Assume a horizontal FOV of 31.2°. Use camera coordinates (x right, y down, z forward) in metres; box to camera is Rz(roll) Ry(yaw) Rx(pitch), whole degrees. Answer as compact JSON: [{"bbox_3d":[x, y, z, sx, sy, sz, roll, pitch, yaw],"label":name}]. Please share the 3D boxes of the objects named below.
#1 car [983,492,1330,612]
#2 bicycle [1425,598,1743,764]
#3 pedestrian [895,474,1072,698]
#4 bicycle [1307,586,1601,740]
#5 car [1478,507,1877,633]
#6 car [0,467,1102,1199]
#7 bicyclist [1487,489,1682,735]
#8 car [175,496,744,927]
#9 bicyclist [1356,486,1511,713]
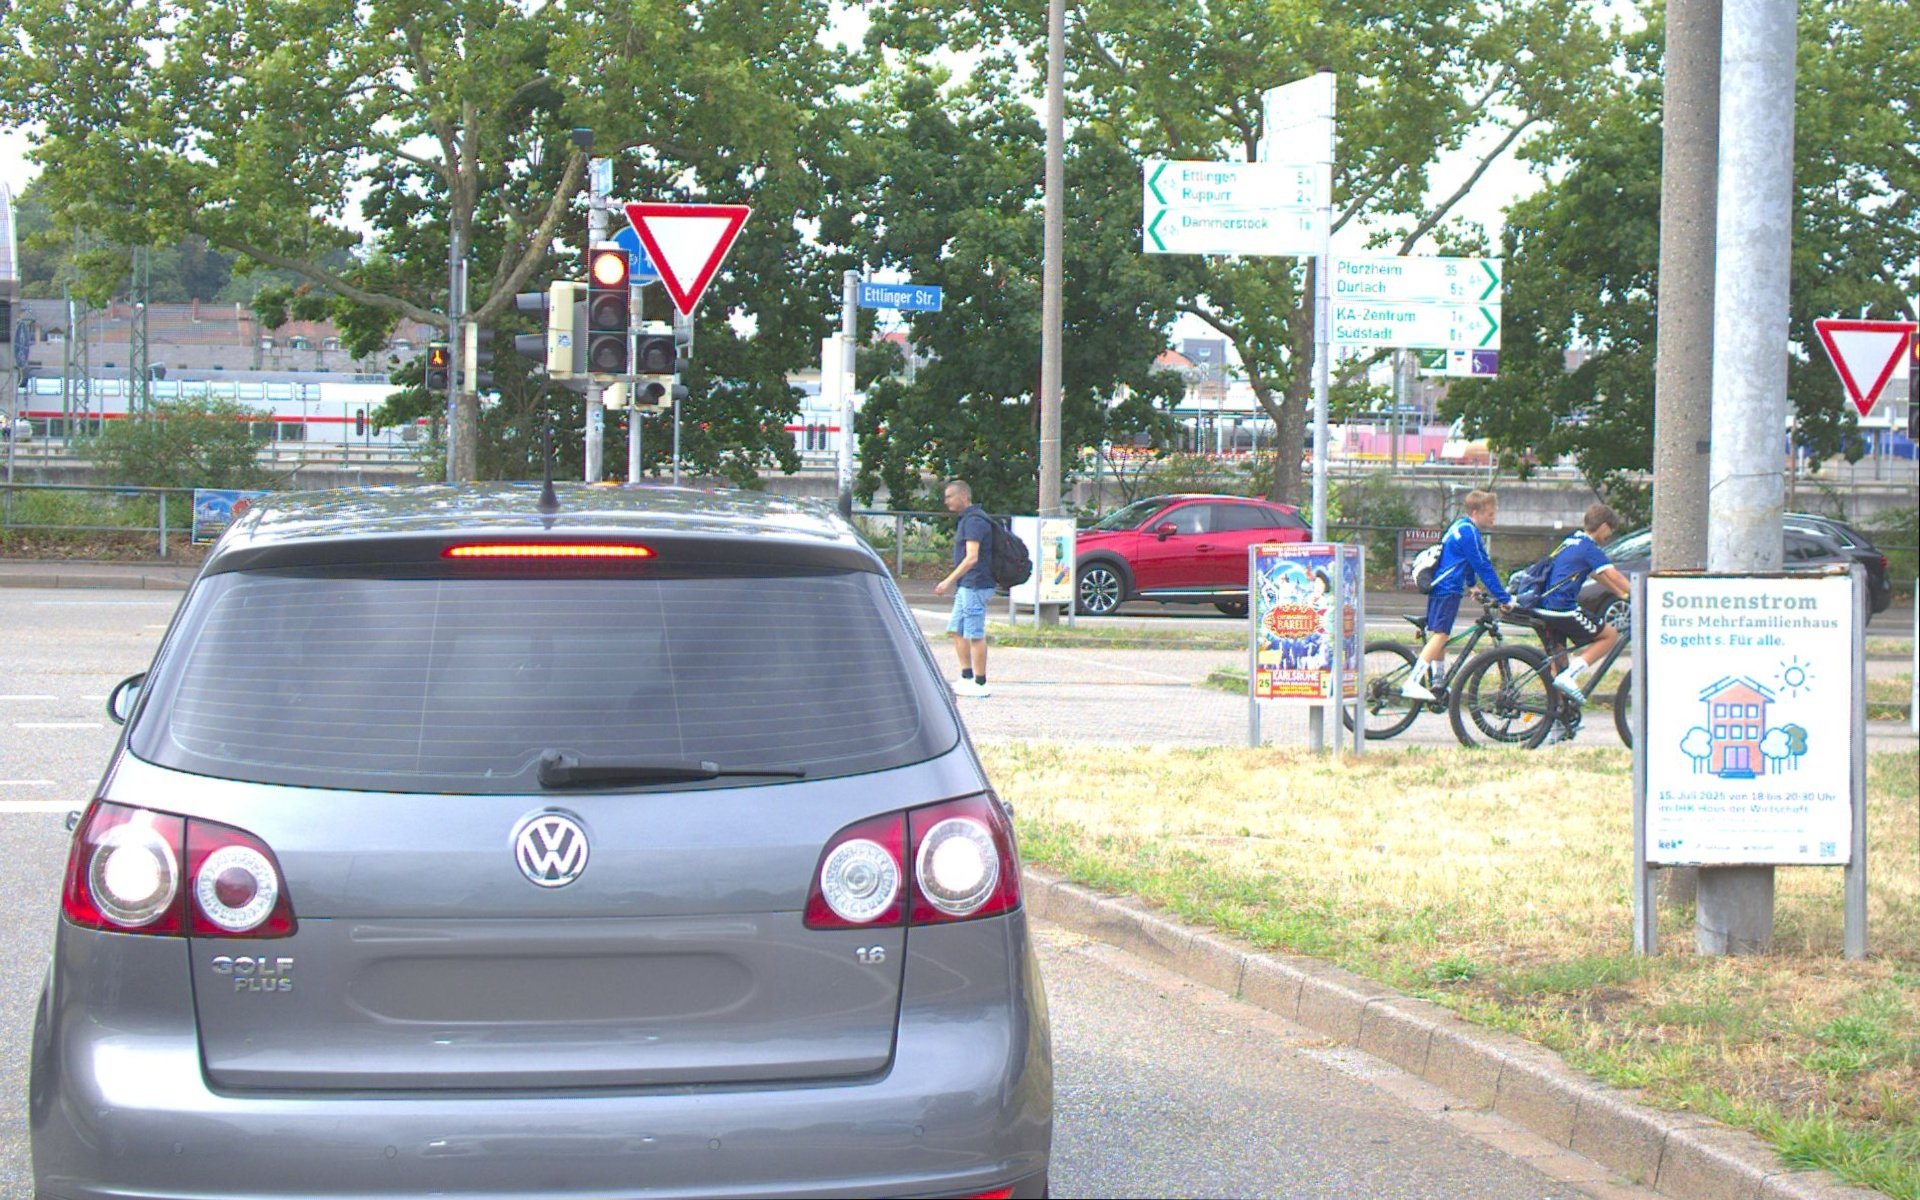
[{"bbox_3d":[2.449,-0.598,42.929,3.950,1.443,1.703,0,2,-20],"label":"car"},{"bbox_3d":[3.987,0.507,21.971,1.900,1.010,0.629,0,2,-17],"label":"bicycle"},{"bbox_3d":[0.182,-0.113,26.978,1.047,1.704,0.853,1,2,-34],"label":"pedestrian"},{"bbox_3d":[3.410,0.429,23.748,1.900,1.010,0.629,0,2,-17],"label":"bicycle"},{"bbox_3d":[8.559,-0.358,41.051,4.327,1.443,1.762,0,2,-17],"label":"car"},{"bbox_3d":[-0.946,0.529,7.244,1.740,1.541,4.083,1,1,-8],"label":"car"},{"bbox_3d":[3.979,0.068,21.937,1.016,1.534,0.629,0,2,-17],"label":"bicyclist"},{"bbox_3d":[-2.178,0.335,13.960,1.740,1.477,4.083,0,1,-16],"label":"car"},{"bbox_3d":[3.259,-0.010,23.683,0.838,1.524,0.629,0,2,-17],"label":"bicyclist"}]
